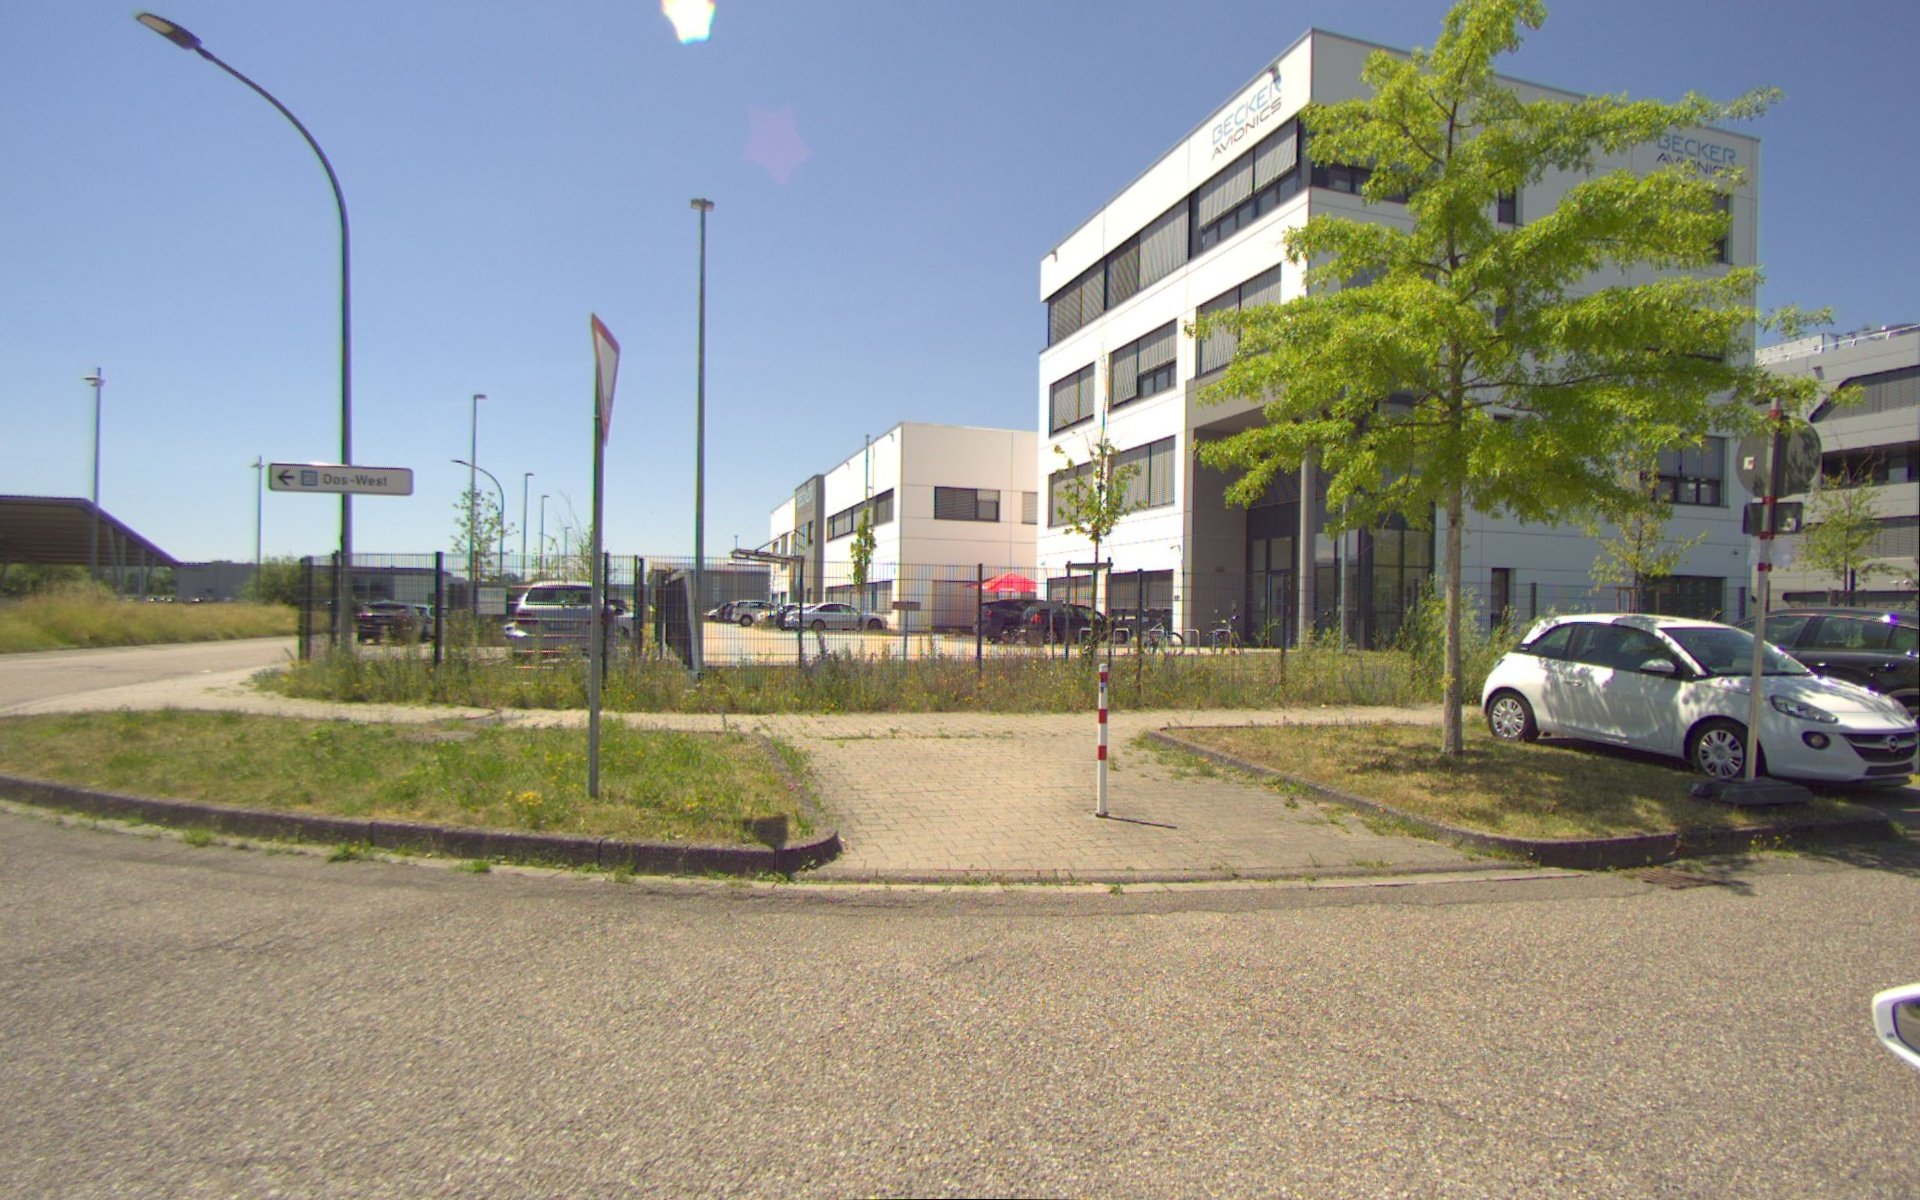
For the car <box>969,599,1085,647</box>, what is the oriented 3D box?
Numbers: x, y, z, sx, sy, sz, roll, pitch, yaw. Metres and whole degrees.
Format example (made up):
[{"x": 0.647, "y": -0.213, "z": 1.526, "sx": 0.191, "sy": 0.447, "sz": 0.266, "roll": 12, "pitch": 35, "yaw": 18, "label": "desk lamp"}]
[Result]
[{"x": 2.495, "y": 0.865, "z": 37.440, "sx": 3.938, "sy": 1.706, "sz": 1.774, "roll": 1, "pitch": -1, "yaw": -19, "label": "car"}]

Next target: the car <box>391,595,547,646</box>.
[{"x": -15.845, "y": 0.670, "z": 32.646, "sx": 4.335, "sy": 1.535, "sz": 1.693, "roll": 1, "pitch": 0, "yaw": -19, "label": "car"}]

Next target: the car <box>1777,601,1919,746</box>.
[{"x": 11.937, "y": 0.886, "z": 11.338, "sx": 1.700, "sy": 1.613, "sz": 3.903, "roll": 1, "pitch": 1, "yaw": -18, "label": "car"}]

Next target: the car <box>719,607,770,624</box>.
[{"x": -18.690, "y": 1.347, "z": 87.017, "sx": 4.100, "sy": 1.357, "sz": 1.774, "roll": 1, "pitch": -1, "yaw": -19, "label": "car"}]

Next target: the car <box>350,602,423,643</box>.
[{"x": -20.706, "y": 0.775, "z": 36.409, "sx": 1.672, "sy": 1.395, "sz": 3.981, "roll": 1, "pitch": -1, "yaw": -21, "label": "car"}]

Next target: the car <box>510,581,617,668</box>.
[{"x": -7.495, "y": 0.447, "z": 19.260, "sx": 1.697, "sy": 1.483, "sz": 3.665, "roll": 1, "pitch": -1, "yaw": -19, "label": "car"}]

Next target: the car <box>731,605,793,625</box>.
[{"x": -13.916, "y": 1.039, "z": 70.609, "sx": 4.100, "sy": 1.357, "sz": 1.774, "roll": 1, "pitch": -1, "yaw": -19, "label": "car"}]

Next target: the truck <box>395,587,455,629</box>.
[{"x": -28.159, "y": 0.415, "z": 53.011, "sx": 2.135, "sy": 2.040, "sz": 5.071, "roll": 1, "pitch": 0, "yaw": -21, "label": "truck"}]

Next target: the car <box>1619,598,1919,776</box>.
[{"x": 9.571, "y": 0.845, "z": 10.791, "sx": 1.802, "sy": 1.615, "sz": 3.832, "roll": 1, "pitch": 1, "yaw": -21, "label": "car"}]

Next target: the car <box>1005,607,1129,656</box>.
[{"x": 3.710, "y": 1.100, "z": 34.961, "sx": 3.938, "sy": 1.623, "sz": 1.774, "roll": 1, "pitch": -1, "yaw": -19, "label": "car"}]

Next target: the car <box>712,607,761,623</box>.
[{"x": -19.753, "y": 1.343, "z": 88.773, "sx": 4.100, "sy": 1.357, "sz": 1.774, "roll": 1, "pitch": -1, "yaw": -19, "label": "car"}]

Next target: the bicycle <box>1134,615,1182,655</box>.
[{"x": 5.029, "y": 0.876, "z": 25.615, "sx": 0.455, "sy": 0.995, "sz": 1.590, "roll": 1, "pitch": -1, "yaw": -19, "label": "bicycle"}]

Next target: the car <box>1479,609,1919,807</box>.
[{"x": 7.218, "y": 0.892, "z": 9.936, "sx": 1.700, "sy": 1.460, "sz": 3.501, "roll": 1, "pitch": 1, "yaw": -18, "label": "car"}]

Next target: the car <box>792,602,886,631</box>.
[{"x": -5.928, "y": 0.809, "z": 49.094, "sx": 4.271, "sy": 1.357, "sz": 1.774, "roll": 1, "pitch": -1, "yaw": -19, "label": "car"}]

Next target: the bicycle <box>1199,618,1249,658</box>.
[{"x": 6.857, "y": 0.963, "z": 26.147, "sx": 0.455, "sy": 0.995, "sz": 1.590, "roll": 1, "pitch": -1, "yaw": -19, "label": "bicycle"}]
